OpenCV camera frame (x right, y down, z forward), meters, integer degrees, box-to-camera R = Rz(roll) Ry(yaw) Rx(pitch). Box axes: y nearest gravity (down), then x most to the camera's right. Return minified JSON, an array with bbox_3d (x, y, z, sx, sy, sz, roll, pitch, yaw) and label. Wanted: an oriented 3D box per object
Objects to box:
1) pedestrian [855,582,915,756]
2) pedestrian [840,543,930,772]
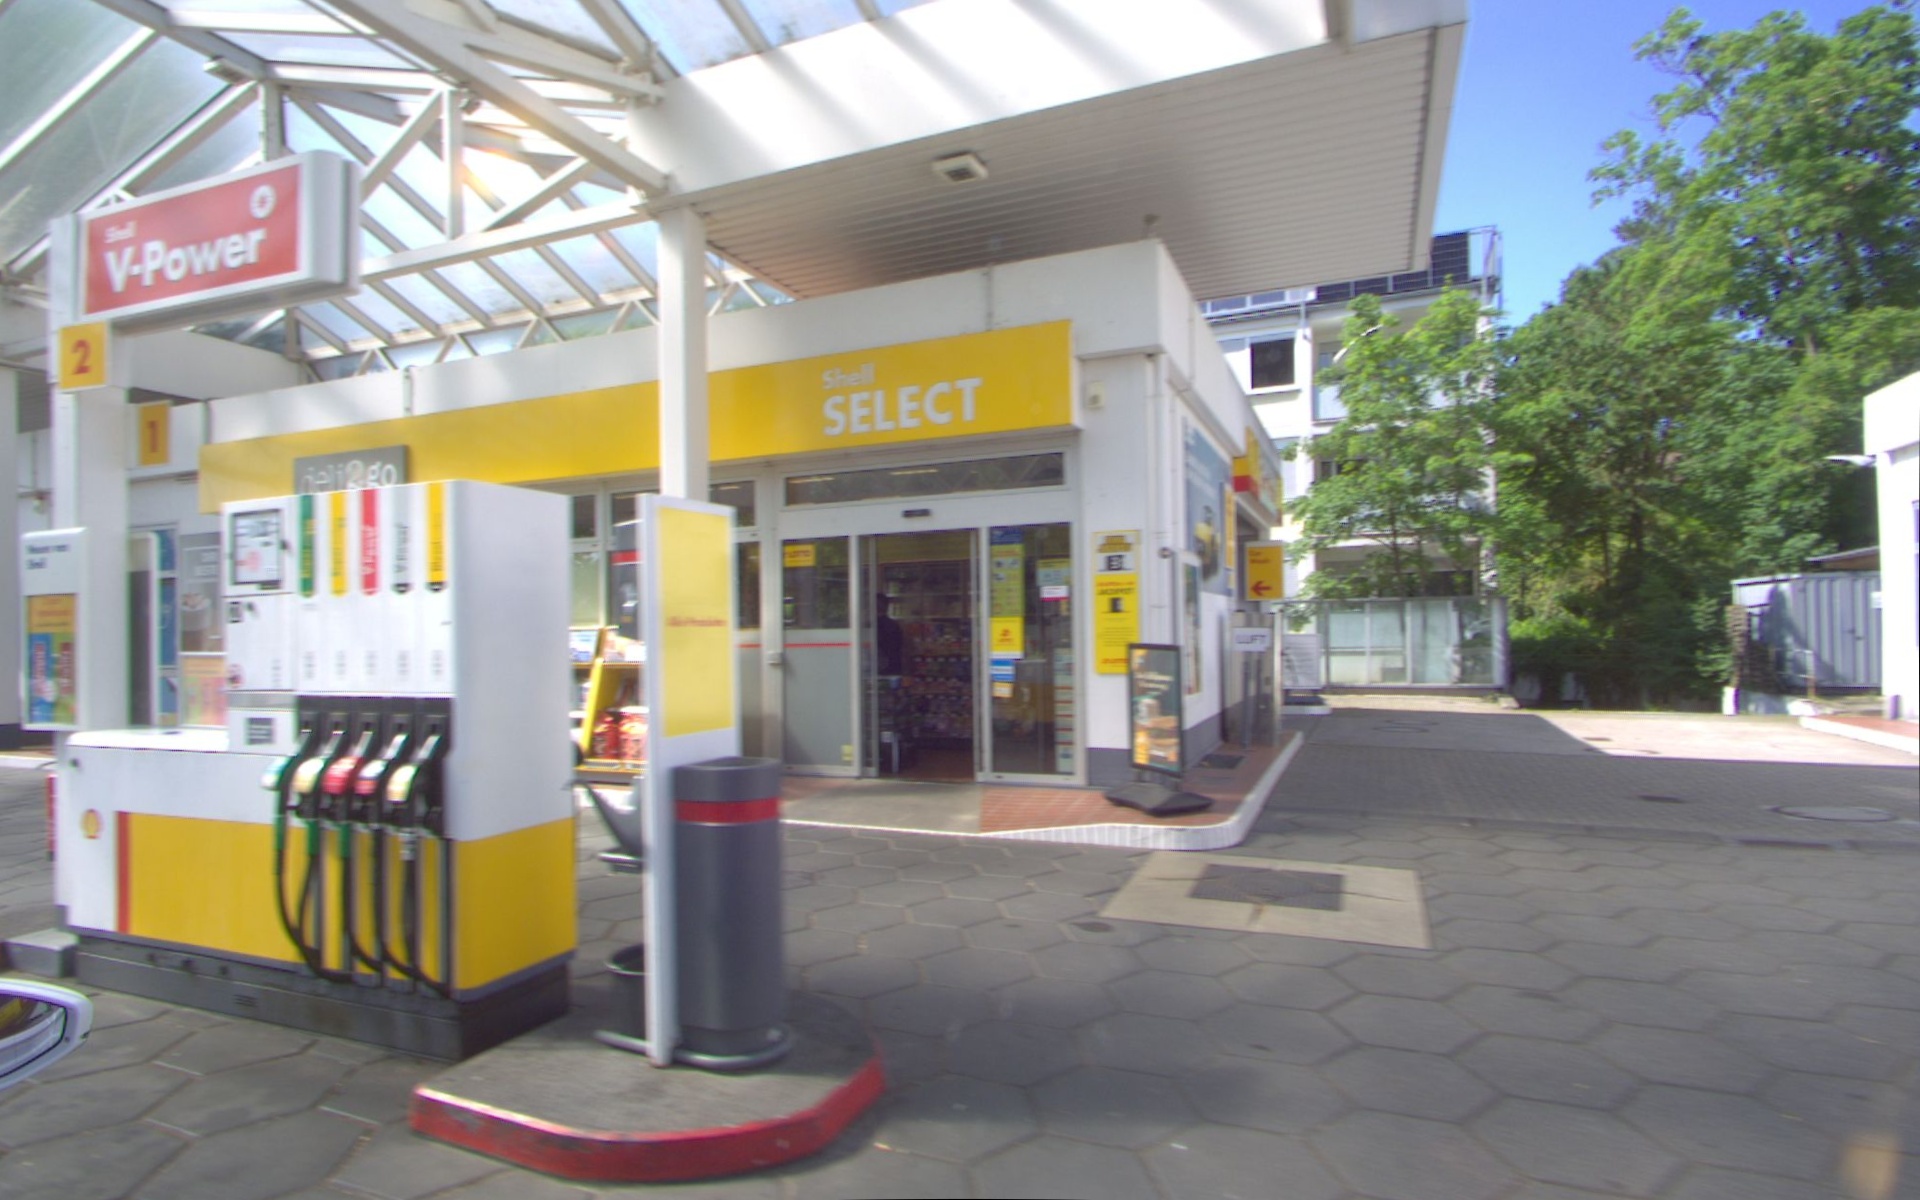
[{"bbox_3d":[-0.783,0.718,10.529,0.562,1.784,0.530,-1,-1,3],"label":"pedestrian"},{"bbox_3d":[-0.686,0.526,9.347,0.612,2.039,0.742,-1,-1,14],"label":"pedestrian"}]
